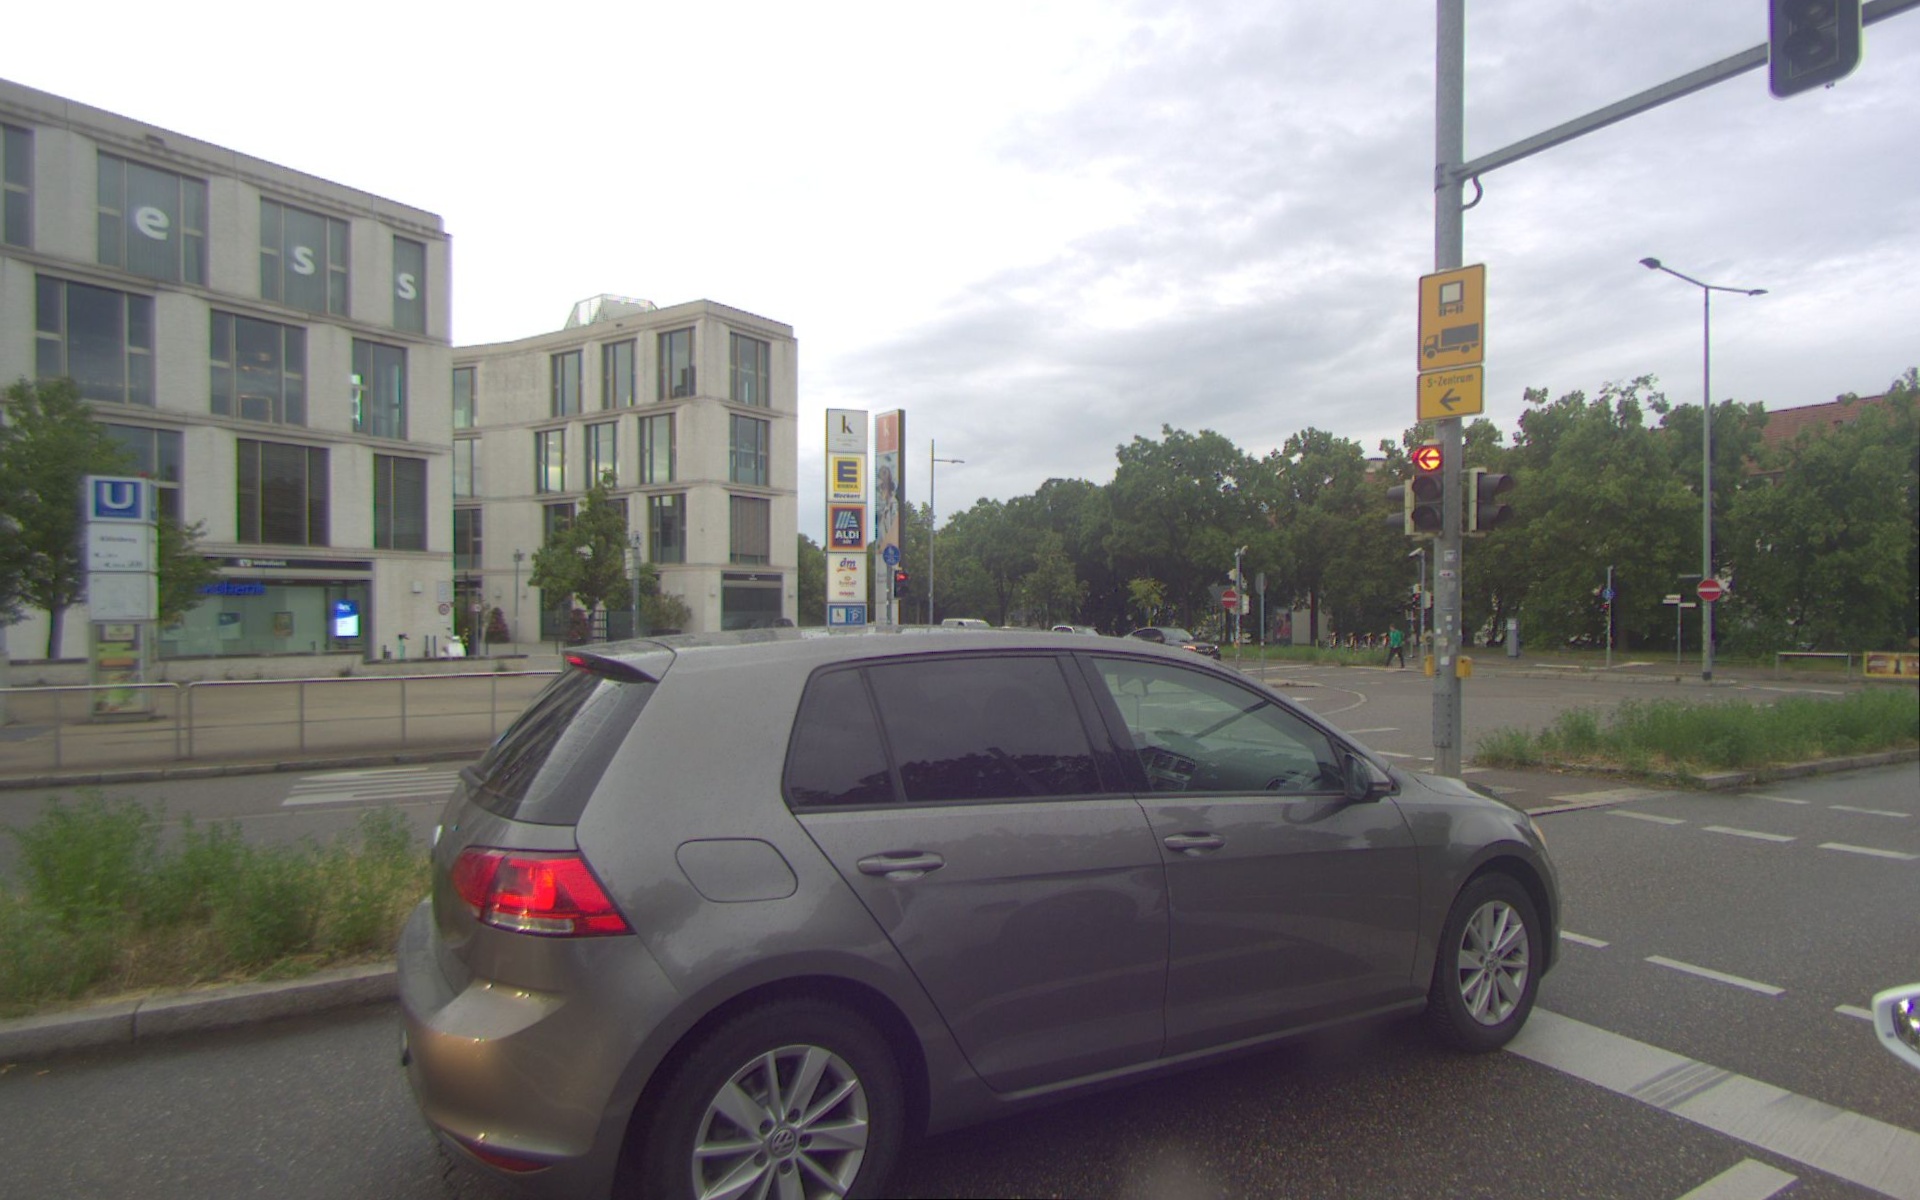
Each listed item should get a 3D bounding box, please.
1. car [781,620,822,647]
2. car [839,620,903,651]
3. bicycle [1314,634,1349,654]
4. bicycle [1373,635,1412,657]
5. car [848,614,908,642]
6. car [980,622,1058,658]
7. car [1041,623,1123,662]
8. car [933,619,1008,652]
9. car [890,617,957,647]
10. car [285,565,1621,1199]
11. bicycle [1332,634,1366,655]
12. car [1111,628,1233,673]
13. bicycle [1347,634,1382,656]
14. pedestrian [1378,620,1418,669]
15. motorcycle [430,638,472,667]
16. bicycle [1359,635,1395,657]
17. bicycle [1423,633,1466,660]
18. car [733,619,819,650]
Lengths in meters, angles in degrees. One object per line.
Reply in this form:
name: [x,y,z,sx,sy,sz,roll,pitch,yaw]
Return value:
car: [-12.753,2.666,80.688,1.976,2.040,3.969,1,-1,-29]
car: [-5.332,2.112,59.697,1.976,1.615,4.855,2,0,-29]
bicycle: [20.264,2.402,54.762,1.959,1.085,0.649,2,0,-30]
bicycle: [22.240,2.360,51.648,1.959,1.085,0.798,2,0,-30]
car: [-5.461,1.817,66.112,1.977,1.615,4.852,2,0,-31]
car: [2.940,1.995,50.907,1.976,1.615,4.185,2,0,-29]
car: [5.553,1.909,46.025,1.976,1.615,3.536,2,0,-30]
car: [0.529,1.945,55.404,1.976,1.615,4.855,2,0,-29]
car: [-2.260,1.886,60.392,1.976,1.615,4.855,2,0,-29]
car: [0.271,0.753,3.605,4.325,1.501,1.807,2,-1,-30]
bicycle: [20.935,2.388,54.033,1.959,1.085,0.649,2,0,-30]
car: [8.391,1.965,40.239,1.976,1.520,5.001,2,0,-29]
bicycle: [21.368,2.377,53.032,1.959,1.085,0.649,2,0,-30]
pedestrian: [16.262,1.644,37.321,0.932,1.750,0.921,2,0,-21]
motorcycle: [-14.141,1.443,27.903,1.081,0.750,0.522,2,0,29]
bicycle: [21.669,2.394,52.172,1.959,1.085,0.649,2,0,-30]
bicycle: [23.755,2.301,49.259,1.959,1.266,0.986,2,0,-30]
car: [-9.190,1.717,50.317,1.968,1.483,3.985,0,-2,37]
